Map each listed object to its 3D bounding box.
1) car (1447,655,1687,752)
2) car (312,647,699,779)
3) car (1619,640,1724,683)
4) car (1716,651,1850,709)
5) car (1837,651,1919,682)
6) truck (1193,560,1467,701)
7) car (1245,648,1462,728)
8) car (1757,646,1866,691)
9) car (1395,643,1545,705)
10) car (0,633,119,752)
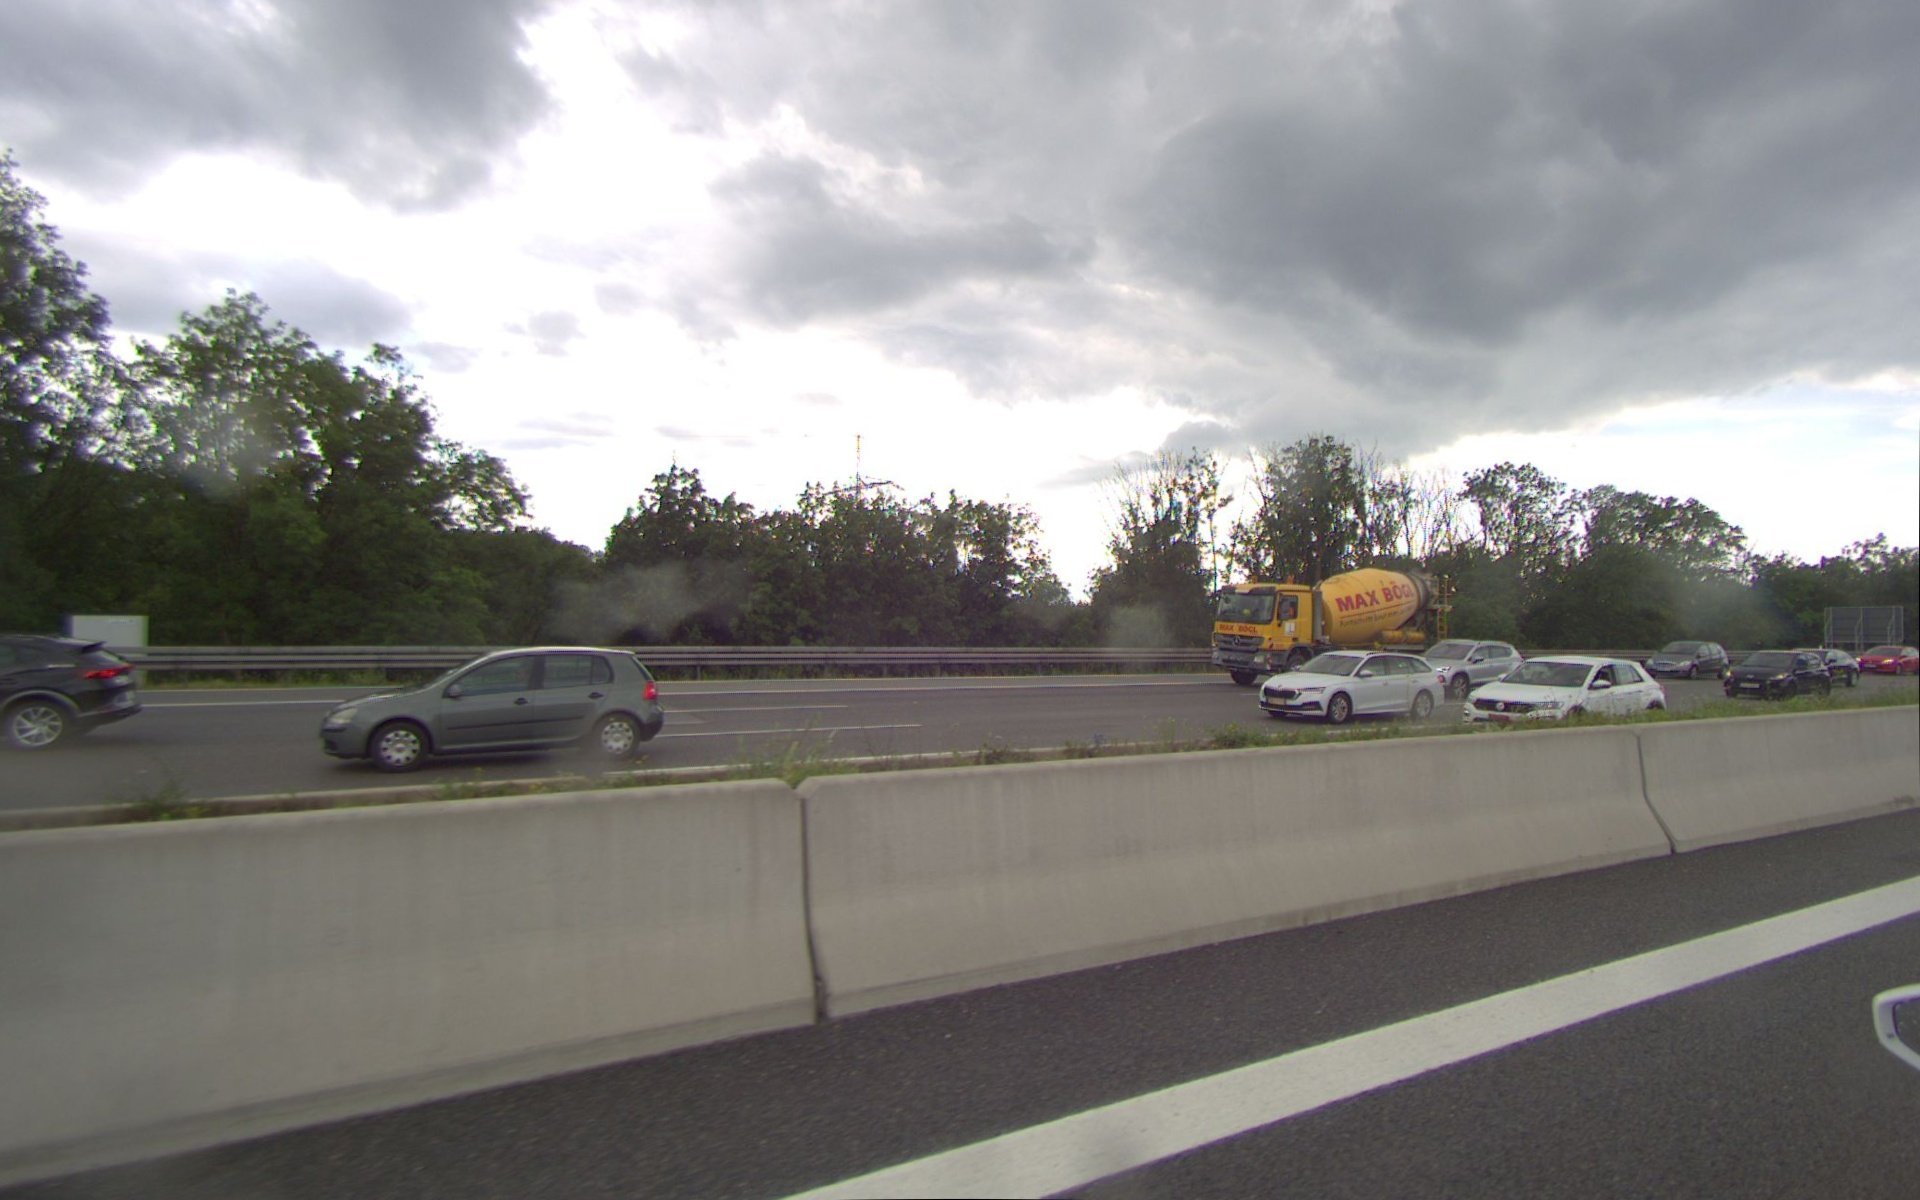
[{"bbox_3d":[10.997,1.785,18.106,4.595,1.447,1.714,2,0,-30],"label":"car"},{"bbox_3d":[-5.968,1.417,13.516,4.465,1.447,1.715,2,0,-29],"label":"car"},{"bbox_3d":[30.194,2.598,42.606,4.854,1.624,1.715,2,0,-29],"label":"car"},{"bbox_3d":[25.973,2.471,31.674,4.589,1.624,1.715,2,0,-29],"label":"car"},{"bbox_3d":[48.827,3.491,53.270,4.854,1.514,1.974,2,-2,-29],"label":"car"},{"bbox_3d":[12.156,1.009,32.588,9.469,4.067,2.902,2,-1,-30],"label":"truck"},{"bbox_3d":[8.546,1.846,21.714,4.791,1.489,1.715,2,0,-29],"label":"car"},{"bbox_3d":[33.721,2.686,39.750,4.854,1.624,1.715,2,0,-29],"label":"car"},{"bbox_3d":[14.964,2.142,29.449,4.465,1.624,1.715,2,0,-29],"label":"car"},{"bbox_3d":[-14.019,1.182,13.026,4.465,1.447,1.715,2,0,-29],"label":"car"}]
